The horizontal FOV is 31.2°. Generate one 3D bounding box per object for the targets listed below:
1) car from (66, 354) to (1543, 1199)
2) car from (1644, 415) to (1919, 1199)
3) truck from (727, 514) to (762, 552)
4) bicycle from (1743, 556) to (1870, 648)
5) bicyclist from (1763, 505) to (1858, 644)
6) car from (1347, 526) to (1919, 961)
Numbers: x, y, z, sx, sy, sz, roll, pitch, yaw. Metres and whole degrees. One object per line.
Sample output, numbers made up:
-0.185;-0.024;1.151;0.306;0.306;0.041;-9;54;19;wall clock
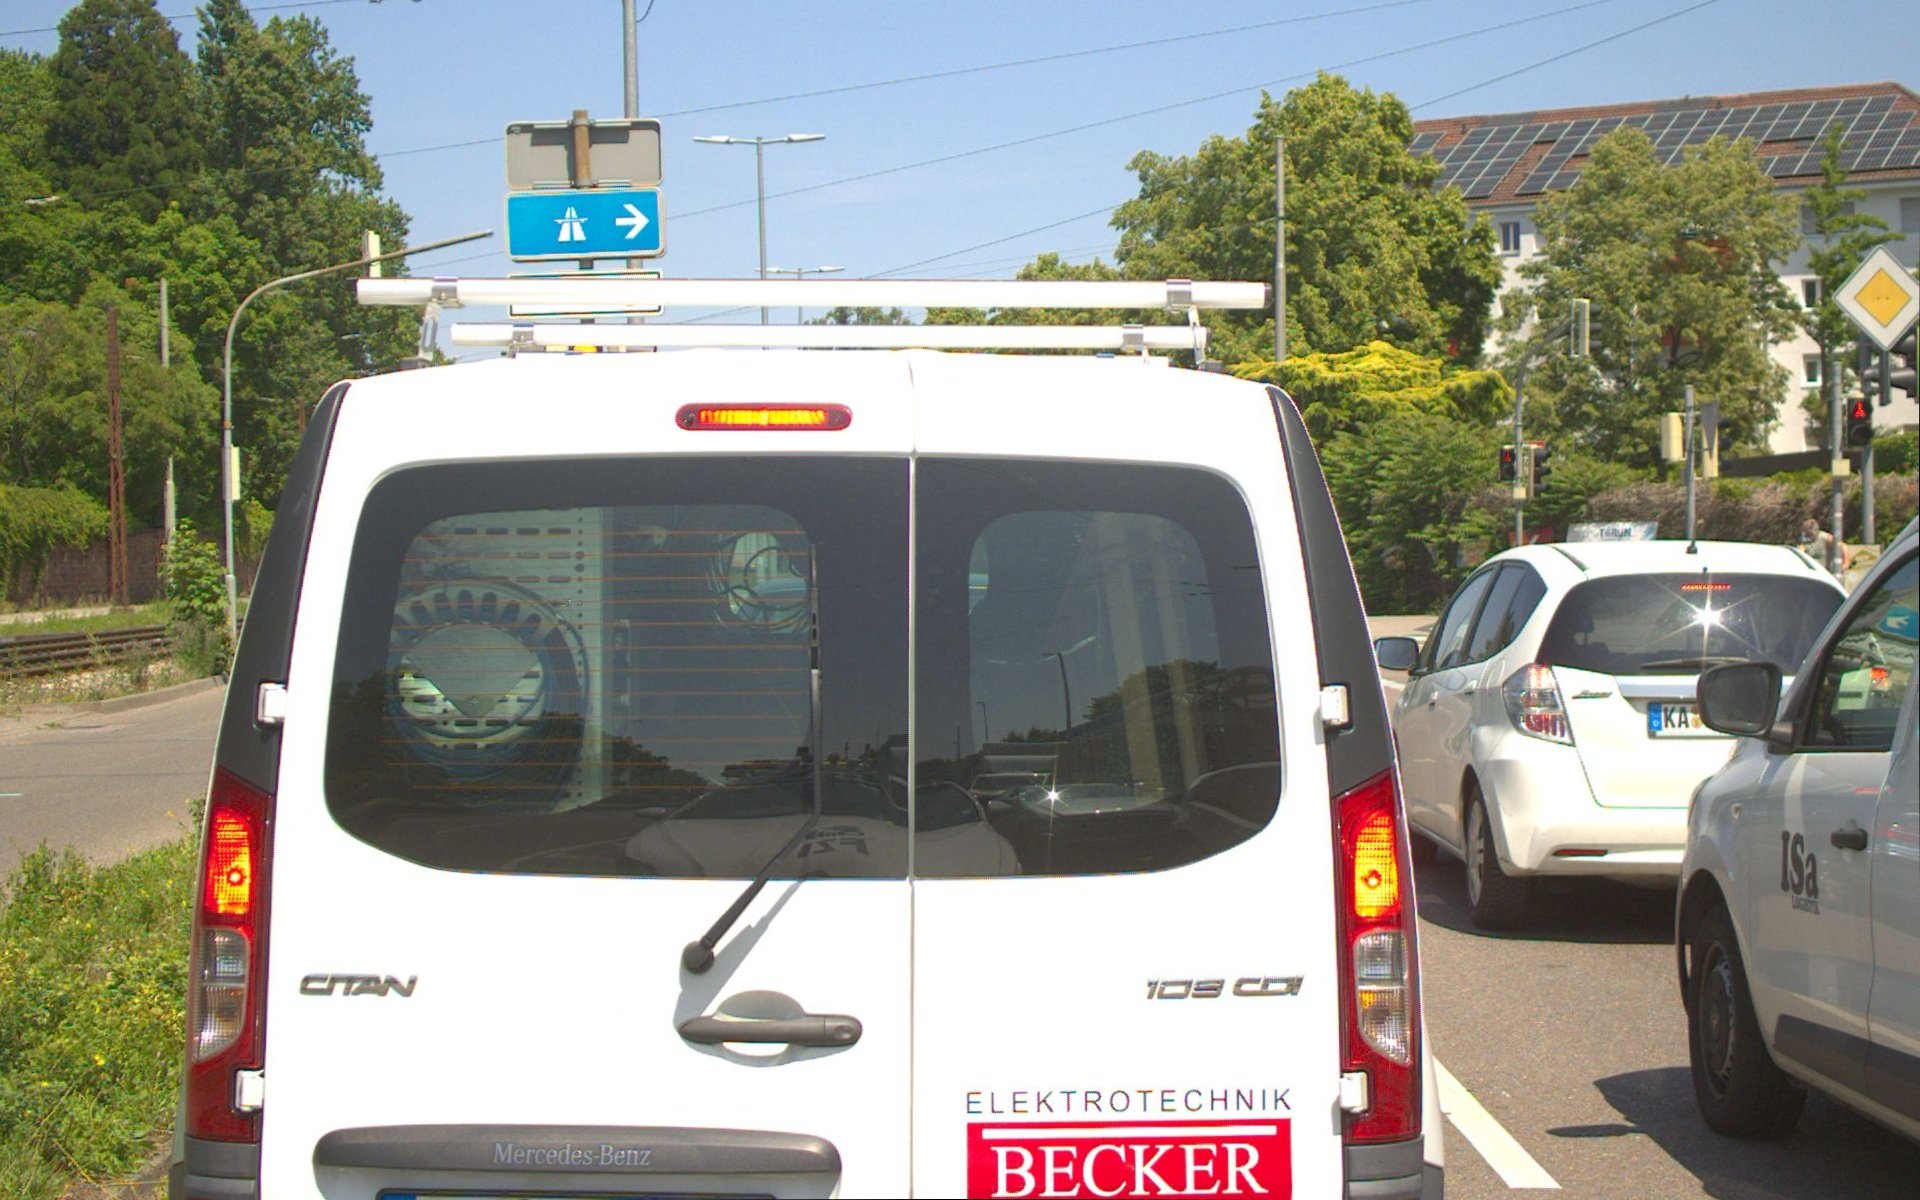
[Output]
-0.218;0.534;6.453;1.821;1.734;4.396;0;1;-1;car
2.778;0.525;7.272;1.727;1.782;4.065;1;1;-2;car
-15.288;-4.755;244.437;2.139;2.579;5.890;1;1;-1;truck
10.943;0.013;44.503;0.892;1.155;1.957;0;1;-9;bicycle
11.000;-0.335;44.480;0.973;1.782;0.726;0;0;-9;bicyclist
2.823;0.487;14.635;1.835;1.563;4.000;1;1;-1;car
